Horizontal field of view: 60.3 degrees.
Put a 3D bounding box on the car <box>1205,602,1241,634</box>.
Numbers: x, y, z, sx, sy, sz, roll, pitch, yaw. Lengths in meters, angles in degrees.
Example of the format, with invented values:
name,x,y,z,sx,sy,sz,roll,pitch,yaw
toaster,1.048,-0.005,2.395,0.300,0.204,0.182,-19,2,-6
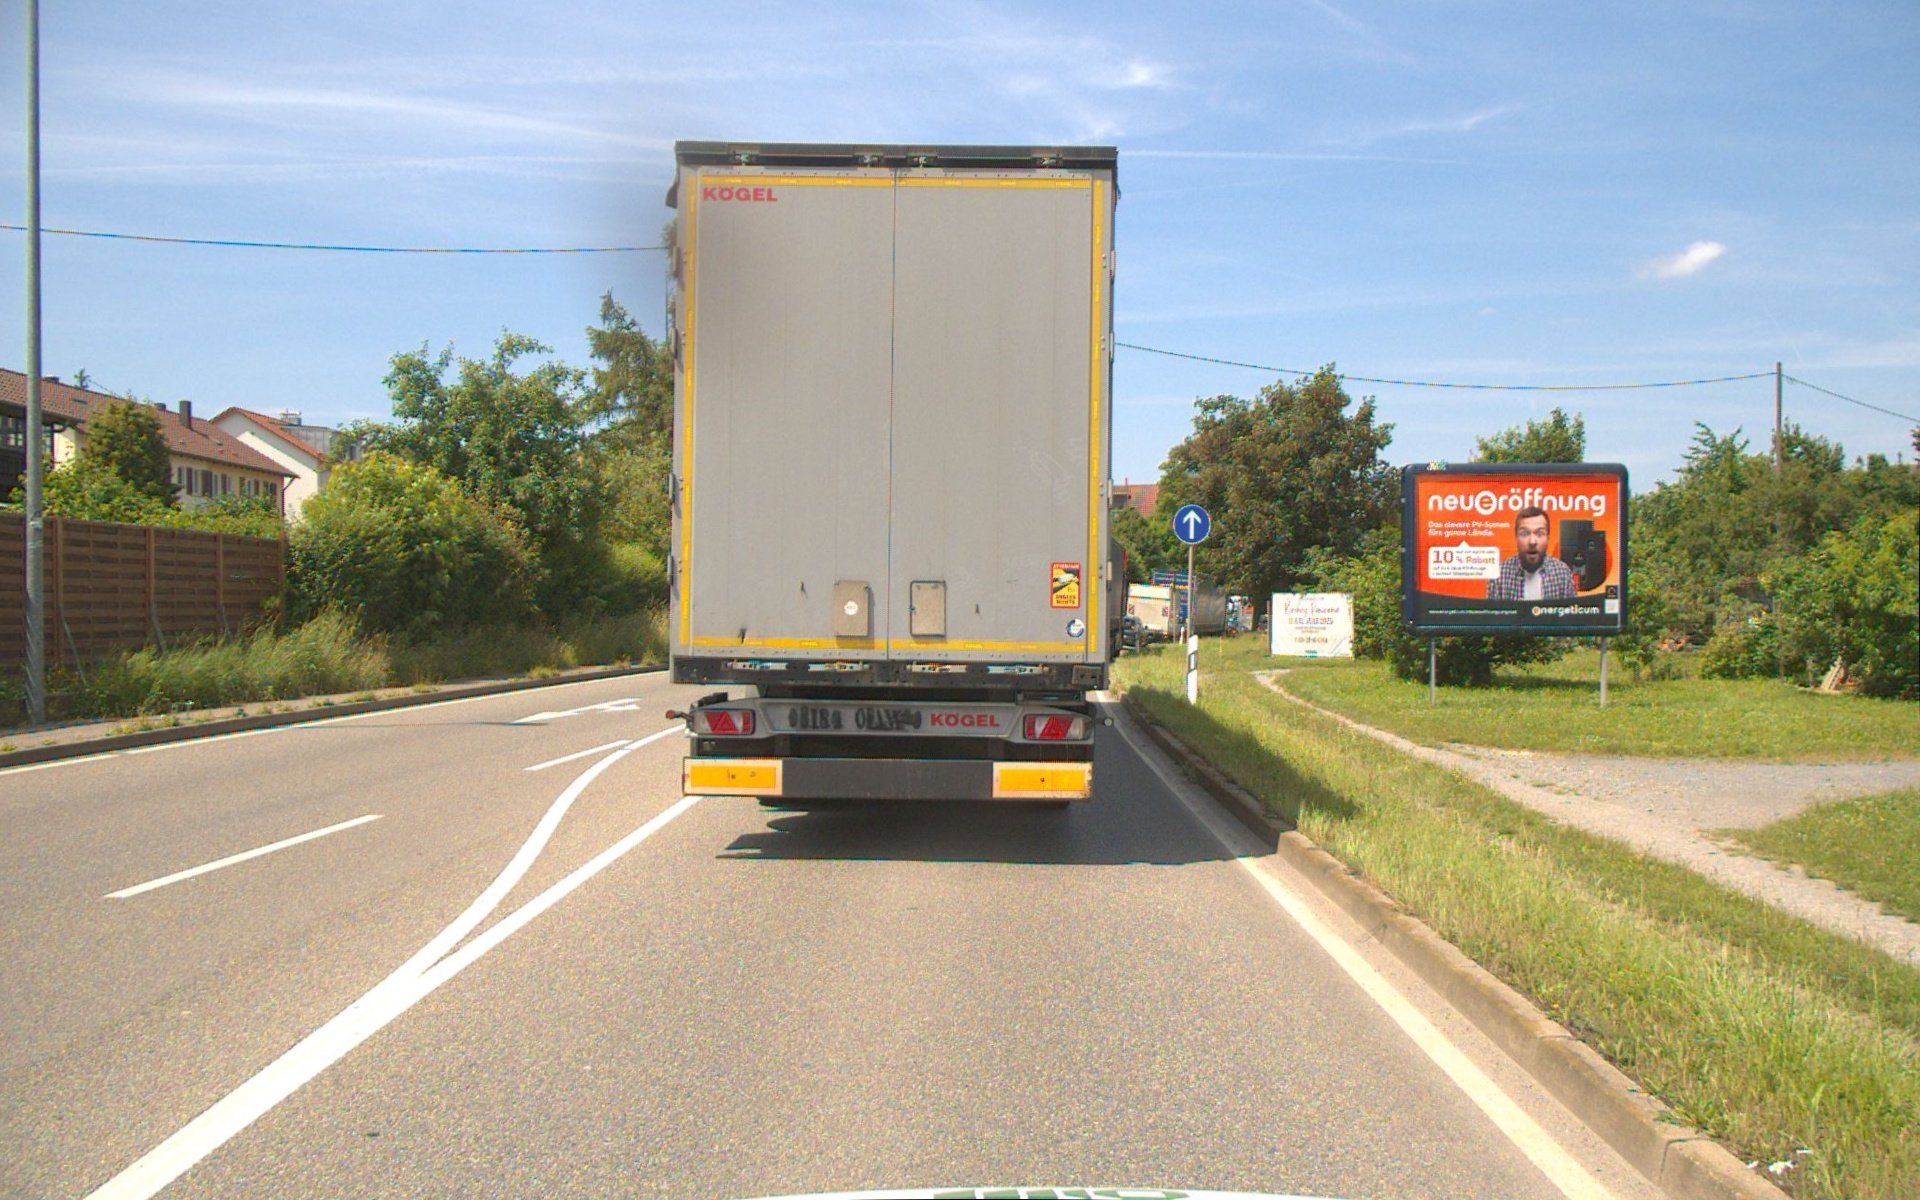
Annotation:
name,x,y,z,sx,sy,sz,roll,pitch,yaw
car,17.651,1.199,110.996,1.951,2.049,4.003,1,-1,15

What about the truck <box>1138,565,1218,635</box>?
name,x,y,z,sx,sy,sz,roll,pitch,yaw
truck,12.423,-0.032,93.438,3.360,3.667,9.361,1,1,14

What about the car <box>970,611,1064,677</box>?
name,x,y,z,sx,sy,sz,roll,pitch,yaw
car,1.345,0.962,37.255,1.780,1.370,3.850,1,-1,7

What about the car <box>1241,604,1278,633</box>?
name,x,y,z,sx,sy,sz,roll,pitch,yaw
car,21.588,1.337,119.175,1.952,2.049,4.001,1,-1,20

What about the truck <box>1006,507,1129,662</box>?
name,x,y,z,sx,sy,sz,roll,pitch,yaw
truck,3.881,-0.315,55.140,2.701,4.364,16.427,1,-1,8

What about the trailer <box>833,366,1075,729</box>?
name,x,y,z,sx,sy,sz,roll,pitch,yaw
trailer,0.039,-0.626,22.405,2.766,4.183,6.546,1,0,2

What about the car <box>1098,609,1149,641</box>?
name,x,y,z,sx,sy,sz,roll,pitch,yaw
car,7.493,1.140,75.422,1.951,1.400,4.003,1,-1,11

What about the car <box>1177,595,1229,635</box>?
name,x,y,z,sx,sy,sz,roll,pitch,yaw
car,15.070,0.911,102.321,2.478,2.317,6.386,1,0,15

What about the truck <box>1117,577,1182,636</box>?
name,x,y,z,sx,sy,sz,roll,pitch,yaw
truck,9.610,0.361,83.397,2.489,2.852,6.036,1,-1,13

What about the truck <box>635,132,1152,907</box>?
name,x,y,z,sx,sy,sz,roll,pitch,yaw
truck,-0.206,-0.475,14.778,2.763,4.200,11.446,1,0,2
